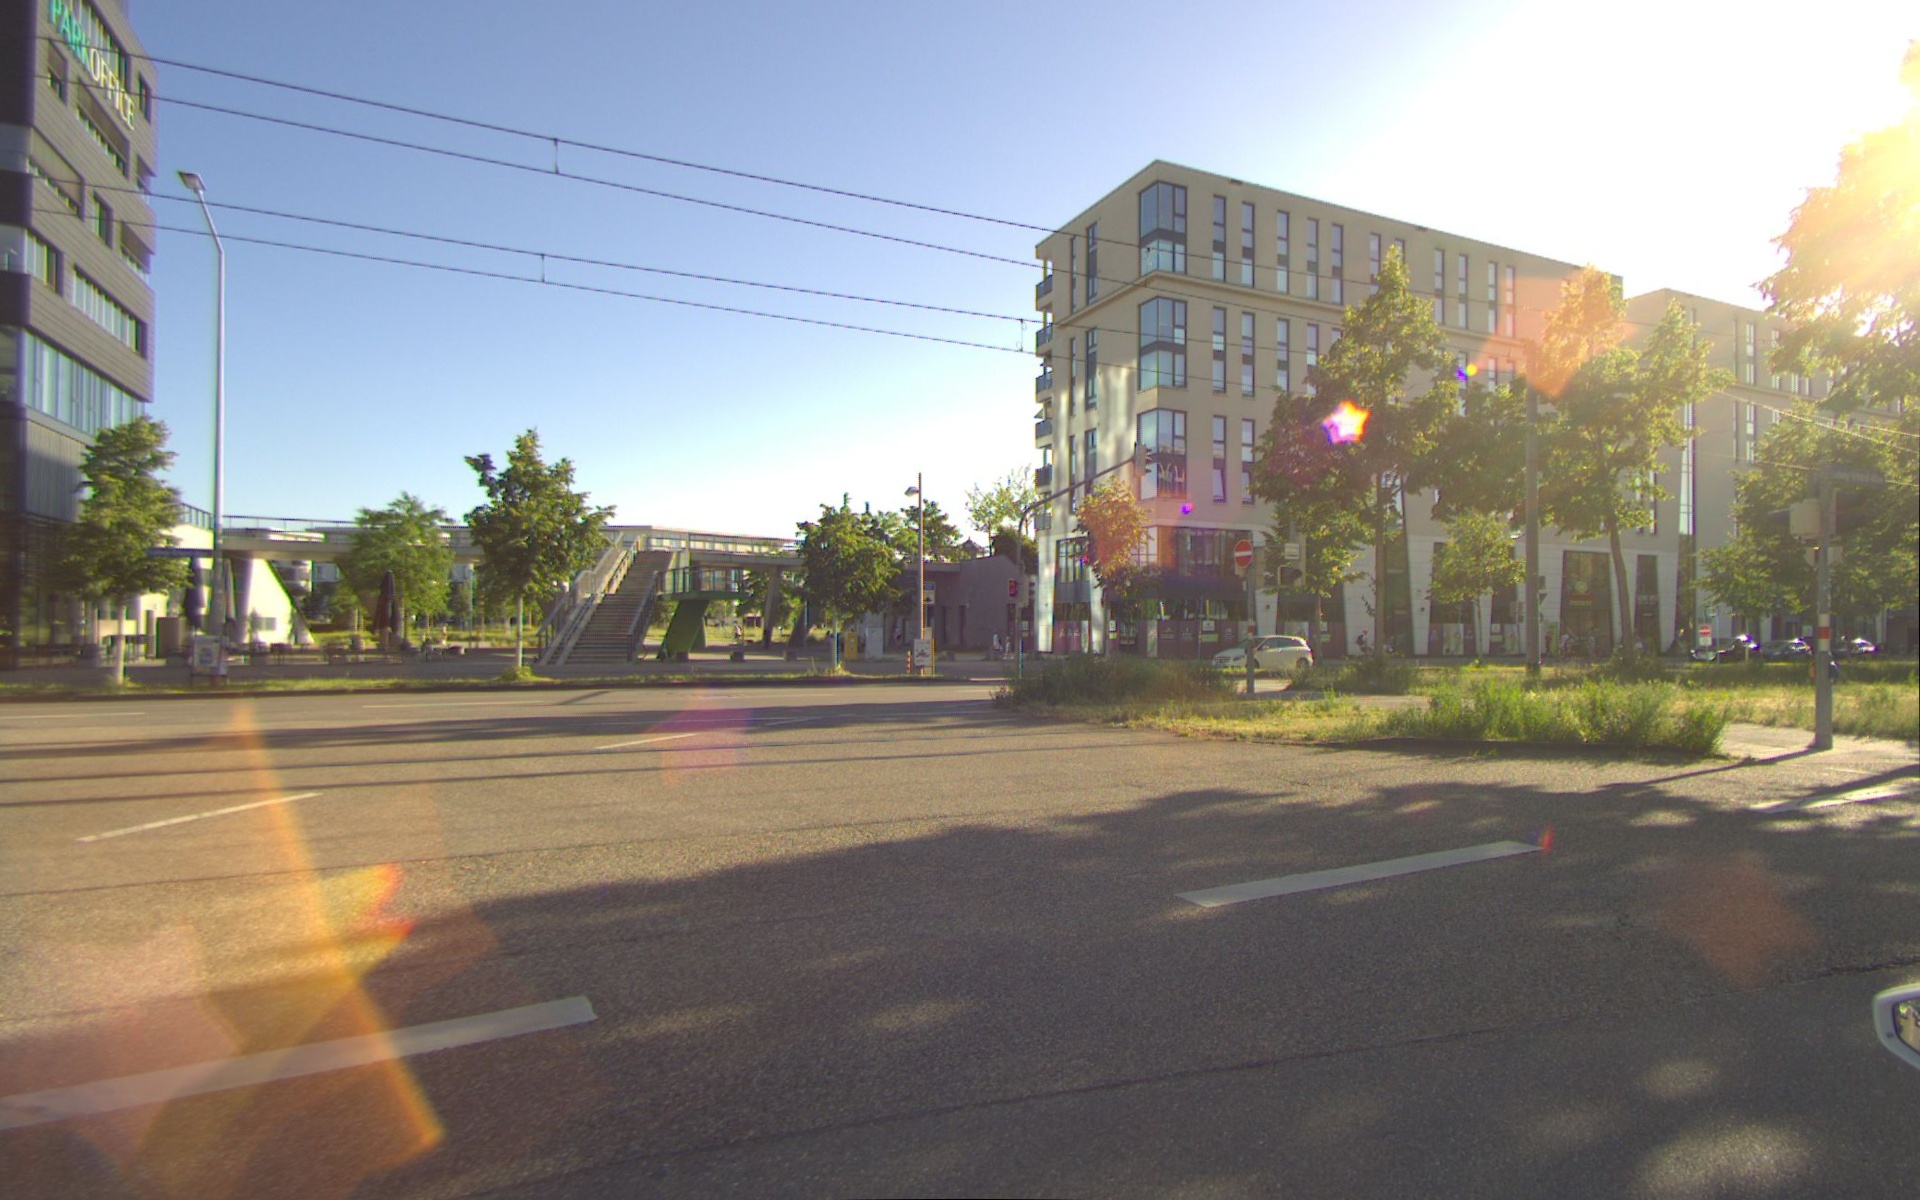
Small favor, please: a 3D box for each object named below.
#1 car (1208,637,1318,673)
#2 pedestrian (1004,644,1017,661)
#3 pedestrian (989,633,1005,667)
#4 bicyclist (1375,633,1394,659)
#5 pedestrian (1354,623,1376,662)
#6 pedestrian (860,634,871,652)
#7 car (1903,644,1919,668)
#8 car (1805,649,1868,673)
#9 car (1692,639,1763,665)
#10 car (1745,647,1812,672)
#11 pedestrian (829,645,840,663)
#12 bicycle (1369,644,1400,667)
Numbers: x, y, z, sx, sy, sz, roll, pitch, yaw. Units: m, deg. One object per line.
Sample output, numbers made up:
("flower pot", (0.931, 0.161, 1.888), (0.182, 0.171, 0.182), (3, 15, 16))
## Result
("car", (12.287, 2.203, 40.666), (4.412, 1.360, 1.575), (1, -2, -26))
("pedestrian", (2.772, 2.872, 55.080), (0.589, 0.932, 0.432), (1, -1, 29))
("pedestrian", (2.014, 2.669, 54.119), (0.589, 1.795, 0.672), (1, -1, 29))
("bicyclist", (21.732, 2.348, 51.406), (0.695, 1.310, 0.576), (1, -1, -24))
("pedestrian", (19.104, 2.005, 47.378), (0.790, 1.836, 0.576), (1, -1, -29))
("pedestrian", (-5.818, 2.653, 61.945), (0.591, 1.140, 0.438), (1, -1, -23))
("car", (63.862, 3.684, 65.865), (3.755, 1.548, 1.770), (1, -2, -26))
("car", (52.640, 3.668, 60.324), (3.662, 1.360, 1.575), (1, -2, -26))
("car", (41.608, 2.819, 54.466), (3.662, 1.360, 1.575), (1, -2, -26))
("car", (46.631, 3.380, 57.240), (3.662, 1.360, 1.575), (1, -2, -26))
("pedestrian", (-8.218, 3.524, 65.683), (0.591, 1.140, 0.438), (1, -1, -23))
("bicycle", (21.717, 2.852, 51.392), (1.616, 1.125, 0.526), (1, -1, -26))
